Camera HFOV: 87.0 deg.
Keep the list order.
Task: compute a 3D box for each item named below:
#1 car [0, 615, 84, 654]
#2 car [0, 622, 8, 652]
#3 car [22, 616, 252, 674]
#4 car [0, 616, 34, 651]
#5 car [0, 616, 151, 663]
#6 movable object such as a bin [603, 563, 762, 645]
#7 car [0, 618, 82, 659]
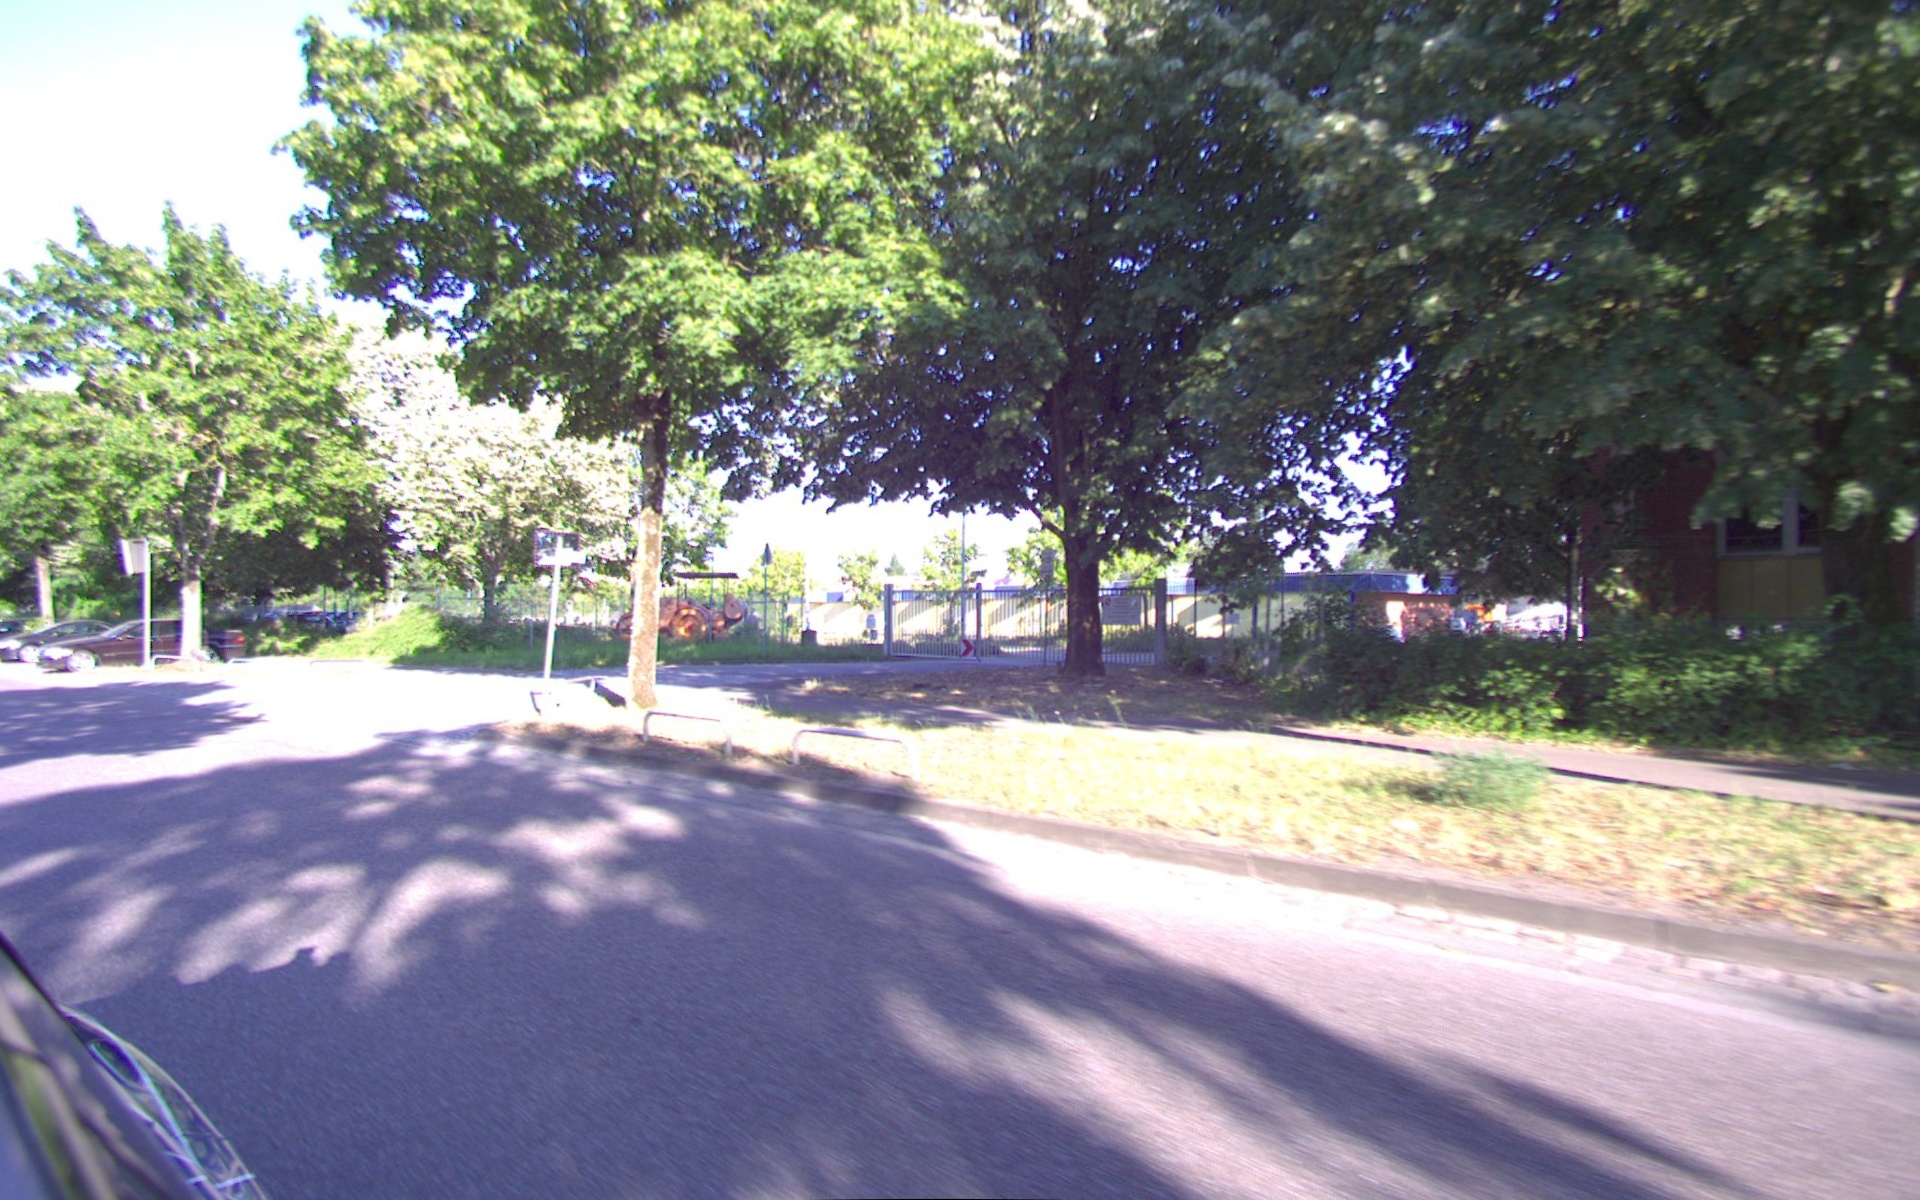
[{"bbox_3d":[-40.064,1.478,42.353,1.994,1.542,4.812,-1,0,32],"label":"car"},{"bbox_3d":[-48.969,1.859,48.488,1.911,1.432,4.611,-1,0,33],"label":"car"},{"bbox_3d":[-24.294,1.272,30.077,1.996,1.473,4.990,-1,0,36],"label":"car"},{"bbox_3d":[-44.376,1.552,45.137,1.996,1.542,4.247,-1,0,37],"label":"car"},{"bbox_3d":[-32.029,1.381,36.213,1.996,1.473,4.440,-1,0,36],"label":"car"},{"bbox_3d":[-9.283,0.155,34.150,4.738,2.685,2.164,0,-2,1],"label":"movable object such as a bin"},{"bbox_3d":[-38.291,1.537,40.512,1.996,1.542,4.440,-1,0,36],"label":"car"}]
